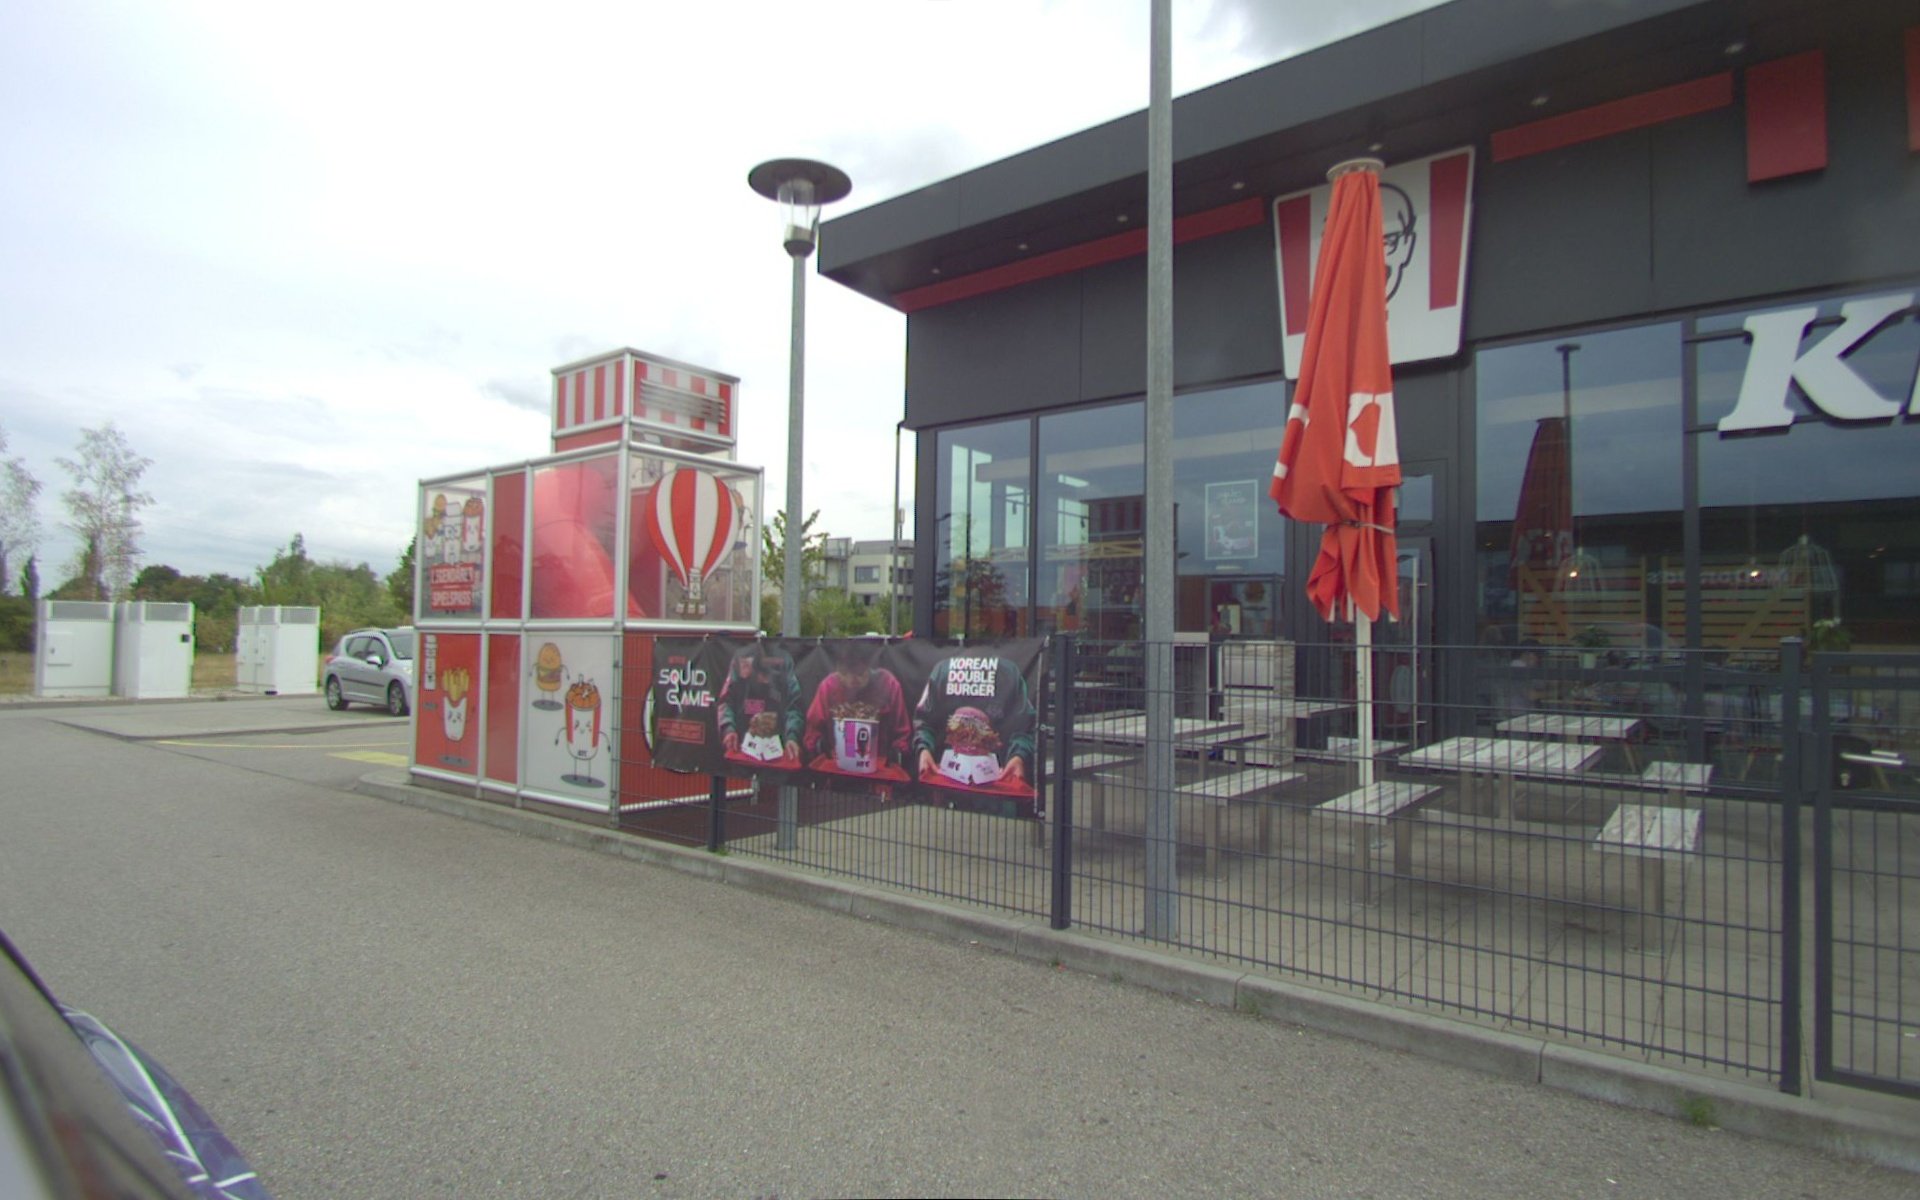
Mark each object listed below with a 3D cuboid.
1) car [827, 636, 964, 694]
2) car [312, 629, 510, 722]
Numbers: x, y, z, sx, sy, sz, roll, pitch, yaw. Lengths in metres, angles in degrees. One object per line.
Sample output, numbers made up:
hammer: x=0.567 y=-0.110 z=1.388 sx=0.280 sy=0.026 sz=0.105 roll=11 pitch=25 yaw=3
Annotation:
car: x=-1.743 y=1.713 z=26.584 sx=3.681 sy=1.405 sz=1.412 roll=-4 pitch=-5 yaw=41
car: x=-10.097 y=1.331 z=18.507 sx=4.162 sy=1.516 sz=1.608 roll=-2 pitch=-4 yaw=37
